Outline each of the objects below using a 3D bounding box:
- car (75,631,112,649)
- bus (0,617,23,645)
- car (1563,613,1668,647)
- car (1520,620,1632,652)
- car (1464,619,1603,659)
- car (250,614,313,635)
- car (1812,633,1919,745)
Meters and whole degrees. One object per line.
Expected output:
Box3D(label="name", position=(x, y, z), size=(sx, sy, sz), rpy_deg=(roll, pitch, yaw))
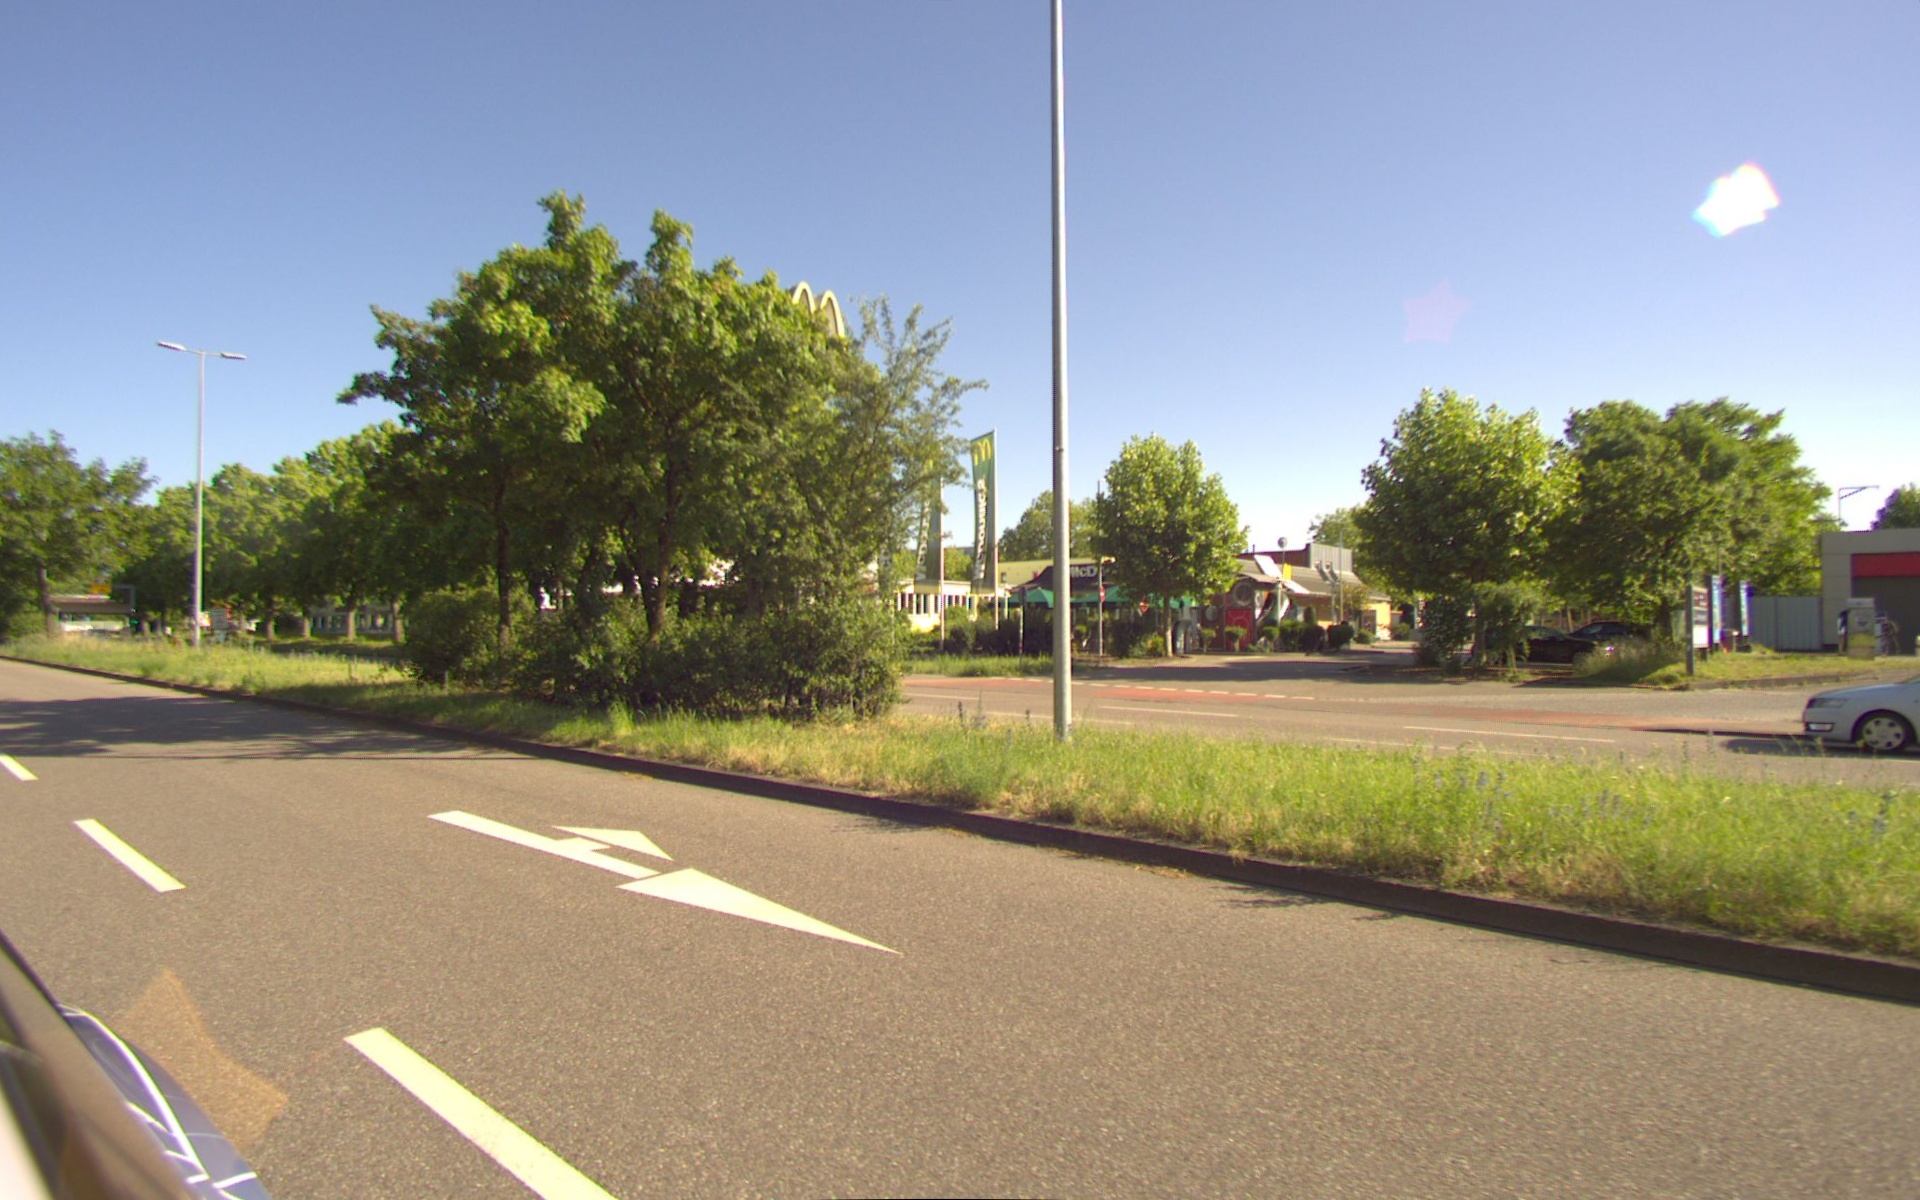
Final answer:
Box3D(label="car", position=(-74.380, 3.449, 86.862), size=(4.527, 1.532, 1.737), rpy_deg=(-2, -5, 42))
Box3D(label="bus", position=(-102.624, 3.333, 107.869), size=(11.081, 2.742, 2.692), rpy_deg=(-2, -5, 41))
Box3D(label="car", position=(30.765, 1.382, 47.520), size=(3.929, 1.541, 1.769), rpy_deg=(-1, -1, 41))
Box3D(label="car", position=(26.823, 1.546, 44.116), size=(3.929, 1.320, 1.769), rpy_deg=(-1, -1, 41))
Box3D(label="car", position=(19.794, 1.324, 35.015), size=(3.929, 1.320, 1.769), rpy_deg=(-1, -1, 41))
Box3D(label="car", position=(-81.482, 2.930, 121.577), size=(2.204, 2.452, 5.821), rpy_deg=(-2, -2, 38))
Box3D(label="car", position=(13.985, 1.191, 13.306), size=(4.207, 1.466, 1.721), rpy_deg=(-1, -4, 41))
